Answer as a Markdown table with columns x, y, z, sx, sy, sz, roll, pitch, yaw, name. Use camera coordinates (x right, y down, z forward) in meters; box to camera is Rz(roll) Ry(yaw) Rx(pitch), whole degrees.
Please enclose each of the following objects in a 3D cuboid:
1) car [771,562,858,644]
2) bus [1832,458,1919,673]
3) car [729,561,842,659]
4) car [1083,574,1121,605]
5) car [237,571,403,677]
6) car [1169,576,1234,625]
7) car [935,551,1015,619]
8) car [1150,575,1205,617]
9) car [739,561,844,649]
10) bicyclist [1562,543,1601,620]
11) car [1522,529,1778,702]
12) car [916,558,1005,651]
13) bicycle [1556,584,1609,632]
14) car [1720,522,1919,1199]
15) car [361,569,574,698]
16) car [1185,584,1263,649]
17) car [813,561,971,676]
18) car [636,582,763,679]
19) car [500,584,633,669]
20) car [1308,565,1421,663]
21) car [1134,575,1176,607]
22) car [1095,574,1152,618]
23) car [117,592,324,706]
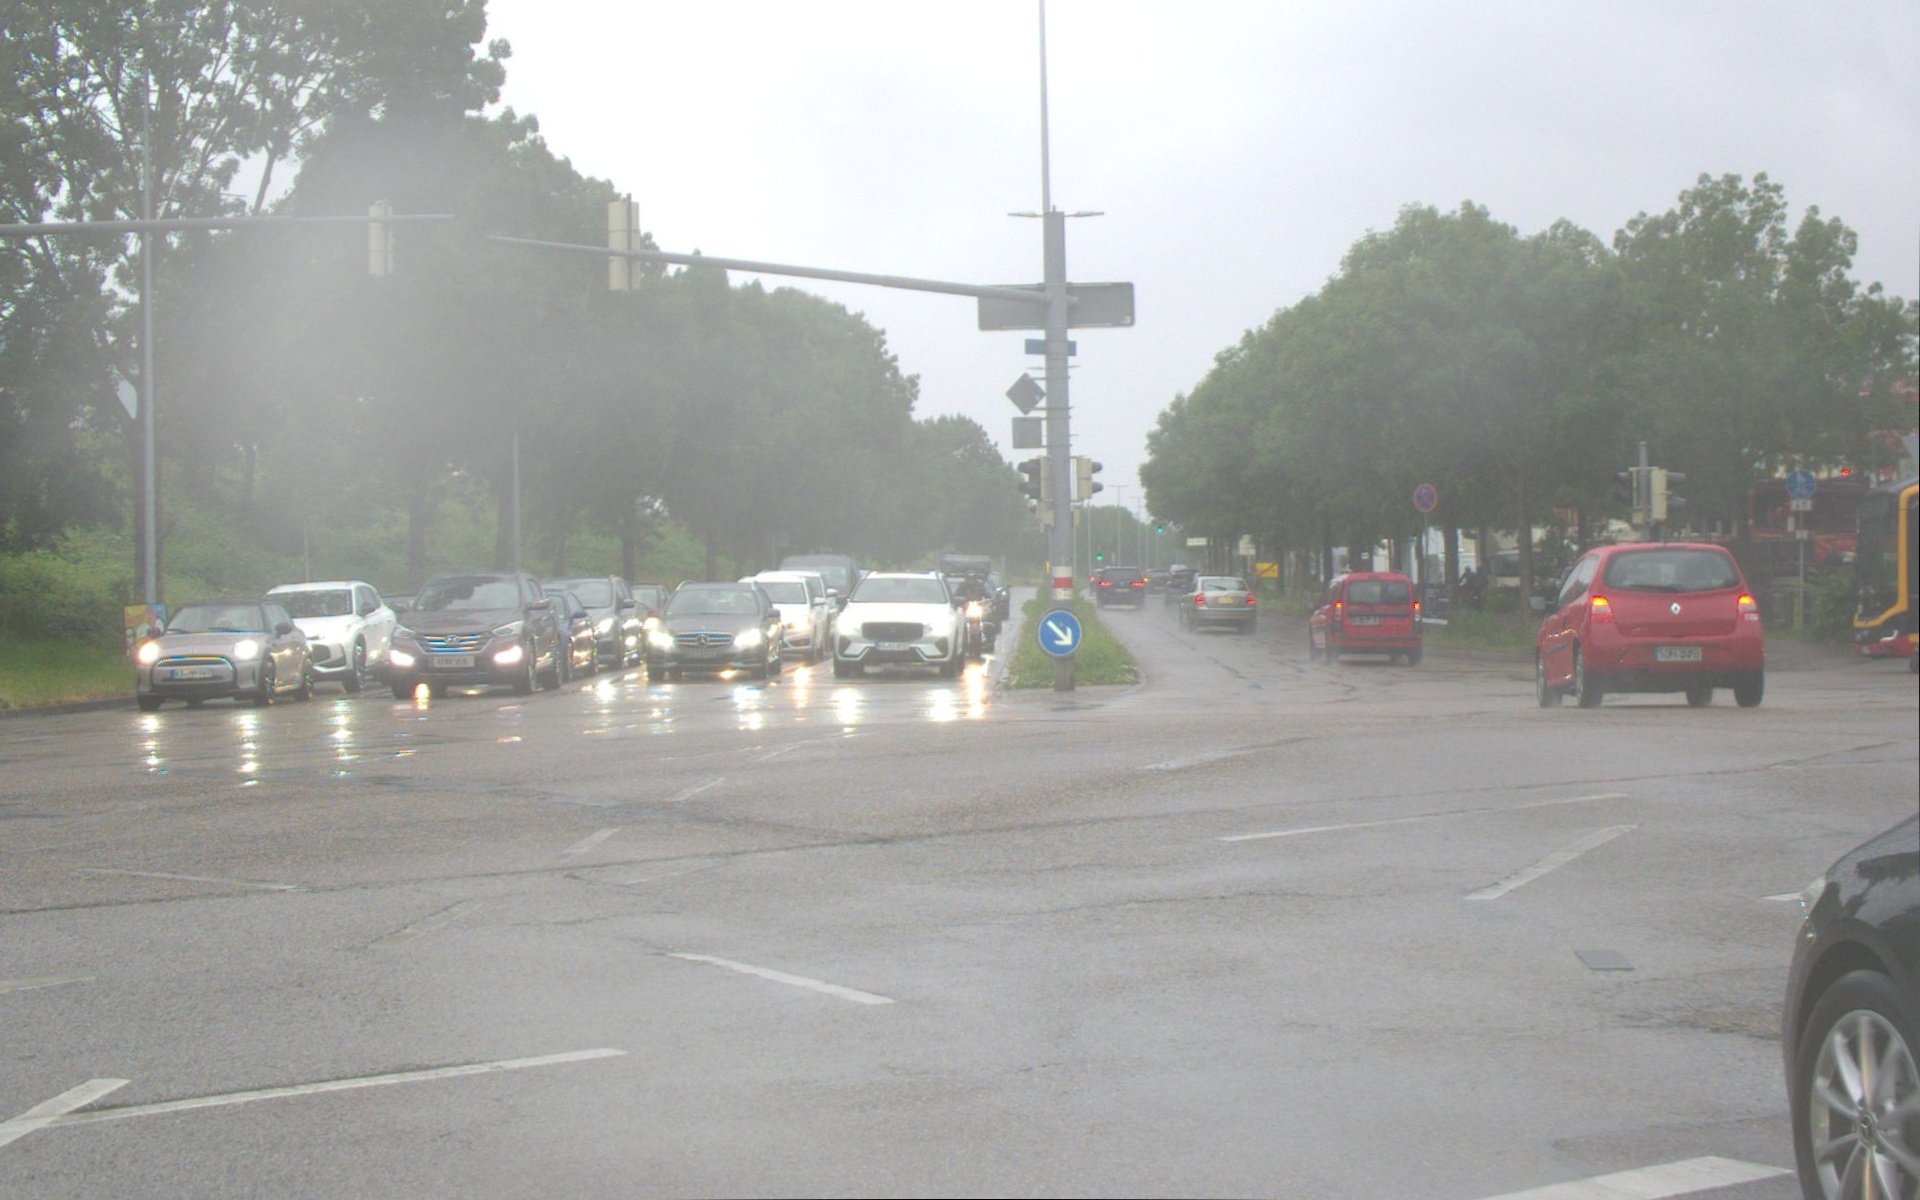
| x | y | z | sx | sy | sz | roll | pitch | yaw | name |
| --- | --- | --- | --- | --- | --- | --- | --- | --- | --- |
| -3.159 | 0.039 | 75.206 | 1.654 | 1.714 | 4.000 | -1 | 1 | 1 | car |
| 20.259 | -0.639 | 53.969 | 12.249 | 3.257 | 3.275 | -1 | 0 | 1 | bus |
| -3.216 | 0.158 | 64.015 | 1.864 | 1.714 | 4.000 | -1 | 1 | 0 | car |
| 7.802 | -0.586 | 189.292 | 1.996 | 1.612 | 4.000 | -1 | 1 | 1 | car |
| -9.575 | 0.331 | 51.714 | 1.827 | 1.477 | 4.000 | -1 | 1 | -1 | car |
| 8.354 | -0.002 | 119.185 | 1.996 | 1.612 | 4.000 | -1 | 1 | 1 | car |
| 0.366 | -0.414 | 89.782 | 1.938 | 1.714 | 4.000 | -1 | 1 | -1 | car |
| 8.703 | -0.169 | 137.860 | 1.996 | 1.612 | 4.000 | -1 | 1 | 1 | car |
| -3.426 | 0.076 | 70.339 | 1.845 | 1.714 | 4.000 | -1 | 1 | 1 | car |
| 15.211 | -0.452 | 84.156 | 0.767 | 1.875 | 0.622 | -1 | 0 | -2 | bicyclist |
| 6.246 | 0.114 | 31.460 | 1.679 | 1.486 | 3.621 | 0 | 1 | 1 | car |
| -0.016 | 0.059 | 66.122 | 1.600 | 1.714 | 4.000 | -1 | 1 | -1 | car |
| 15.221 | 0.188 | 84.117 | 0.819 | 1.161 | 2.260 | -1 | 0 | -2 | bicycle |
| 2.852 | 0.630 | 5.545 | 1.870 | 1.518 | 4.088 | -1 | 1 | -8 | car |
| -6.712 | 0.420 | 47.298 | 2.022 | 1.651 | 4.061 | -1 | 1 | 5 | car |
| 6.769 | 0.404 | 88.407 | 1.843 | 1.612 | 4.000 | 1 | 0 | 3 | car |
| -1.034 | 0.265 | 54.751 | 2.170 | 1.714 | 4.302 | -1 | 1 | 3 | car |
| -3.987 | 0.442 | 53.115 | 1.827 | 1.353 | 4.001 | -1 | 1 | -3 | car |
| -6.725 | 0.430 | 59.059 | 1.827 | 1.353 | 4.000 | -1 | 1 | 0 | car |
| 7.175 | 0.225 | 61.244 | 1.632 | 1.650 | 3.484 | 1 | 1 | 1 | car |
| 10.205 | -0.478 | 180.324 | 1.996 | 1.612 | 4.000 | -1 | 1 | 1 | car |
| 6.230 | -0.152 | 131.292 | 1.996 | 1.612 | 4.000 | -1 | 1 | 1 | car |
| -9.726 | 0.619 | 45.502 | 1.892 | 1.344 | 4.000 | -1 | 1 | -1 | car |
